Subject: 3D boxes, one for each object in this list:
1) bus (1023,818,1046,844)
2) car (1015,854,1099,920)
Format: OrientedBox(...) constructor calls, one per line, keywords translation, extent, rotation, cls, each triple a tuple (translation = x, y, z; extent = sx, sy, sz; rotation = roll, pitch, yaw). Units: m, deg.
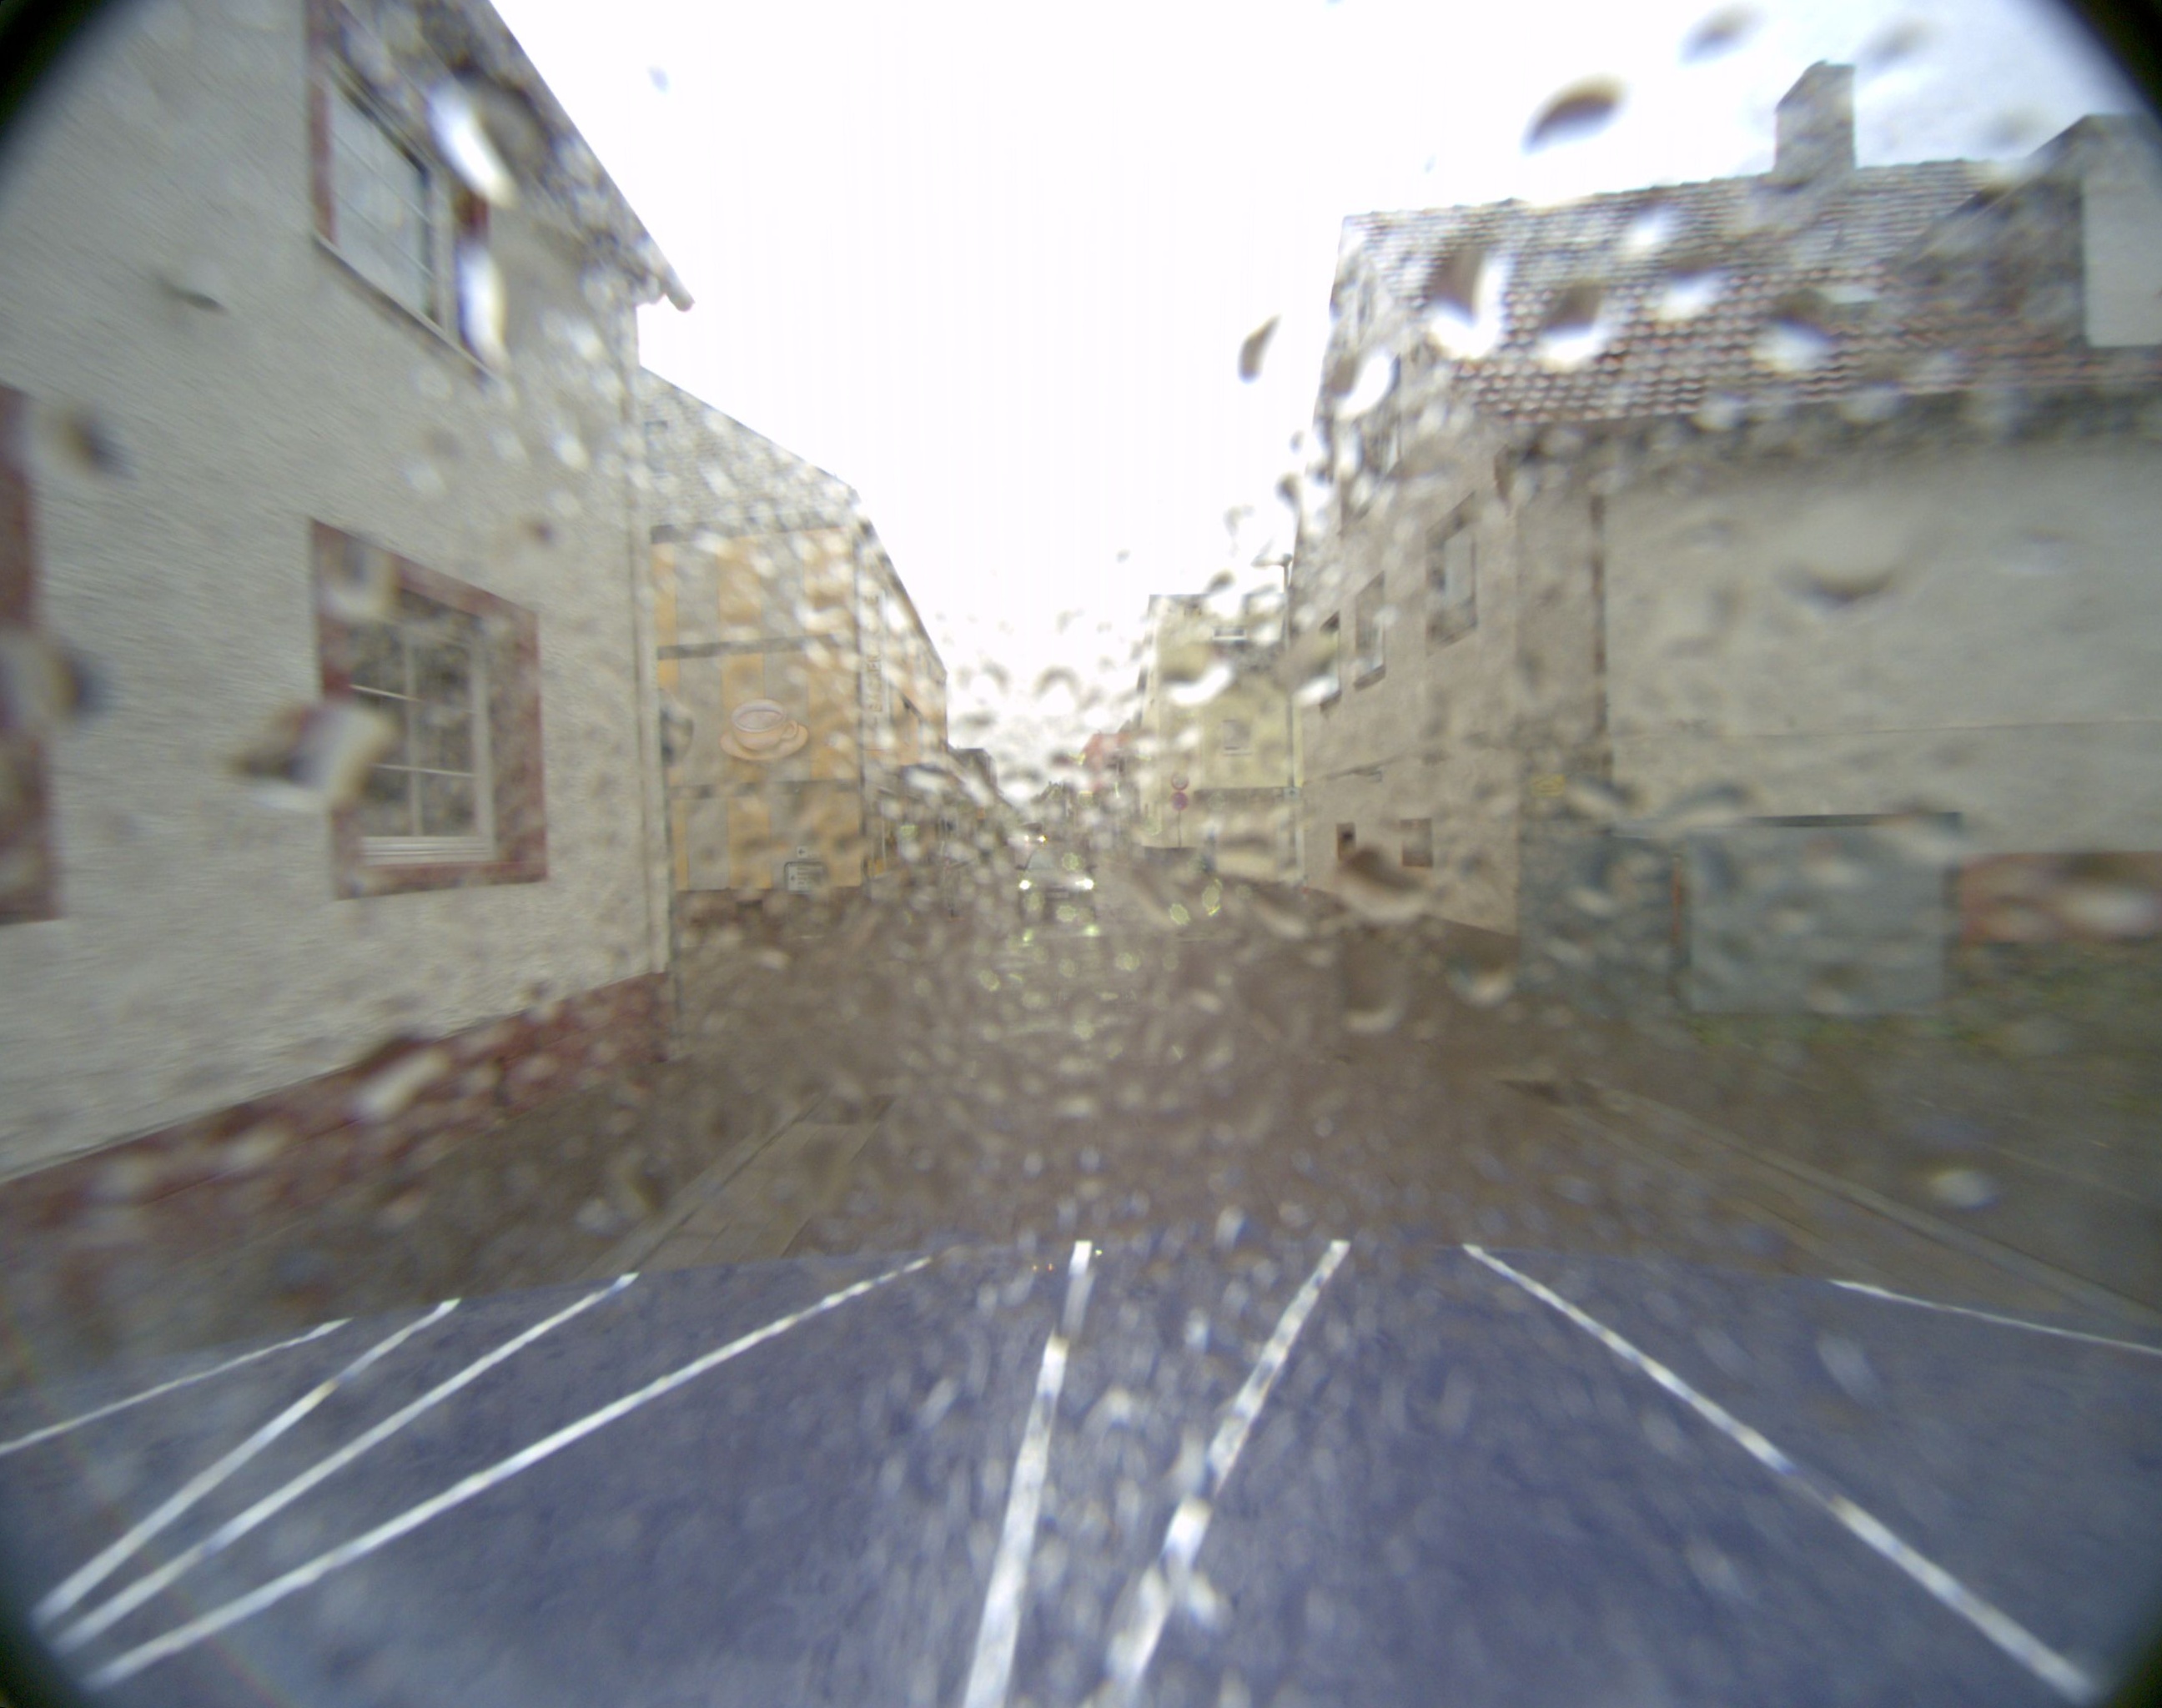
OrientedBox(translation=(-6.923, -3.396, 111.832), extent=(2.893, 3.590, 11.970), rotation=(-2, 2, -5), cls="bus")
OrientedBox(translation=(-0.494, 0.721, 18.575), extent=(1.800, 1.342, 3.738), rotation=(-2, 0, 1), cls="car")
